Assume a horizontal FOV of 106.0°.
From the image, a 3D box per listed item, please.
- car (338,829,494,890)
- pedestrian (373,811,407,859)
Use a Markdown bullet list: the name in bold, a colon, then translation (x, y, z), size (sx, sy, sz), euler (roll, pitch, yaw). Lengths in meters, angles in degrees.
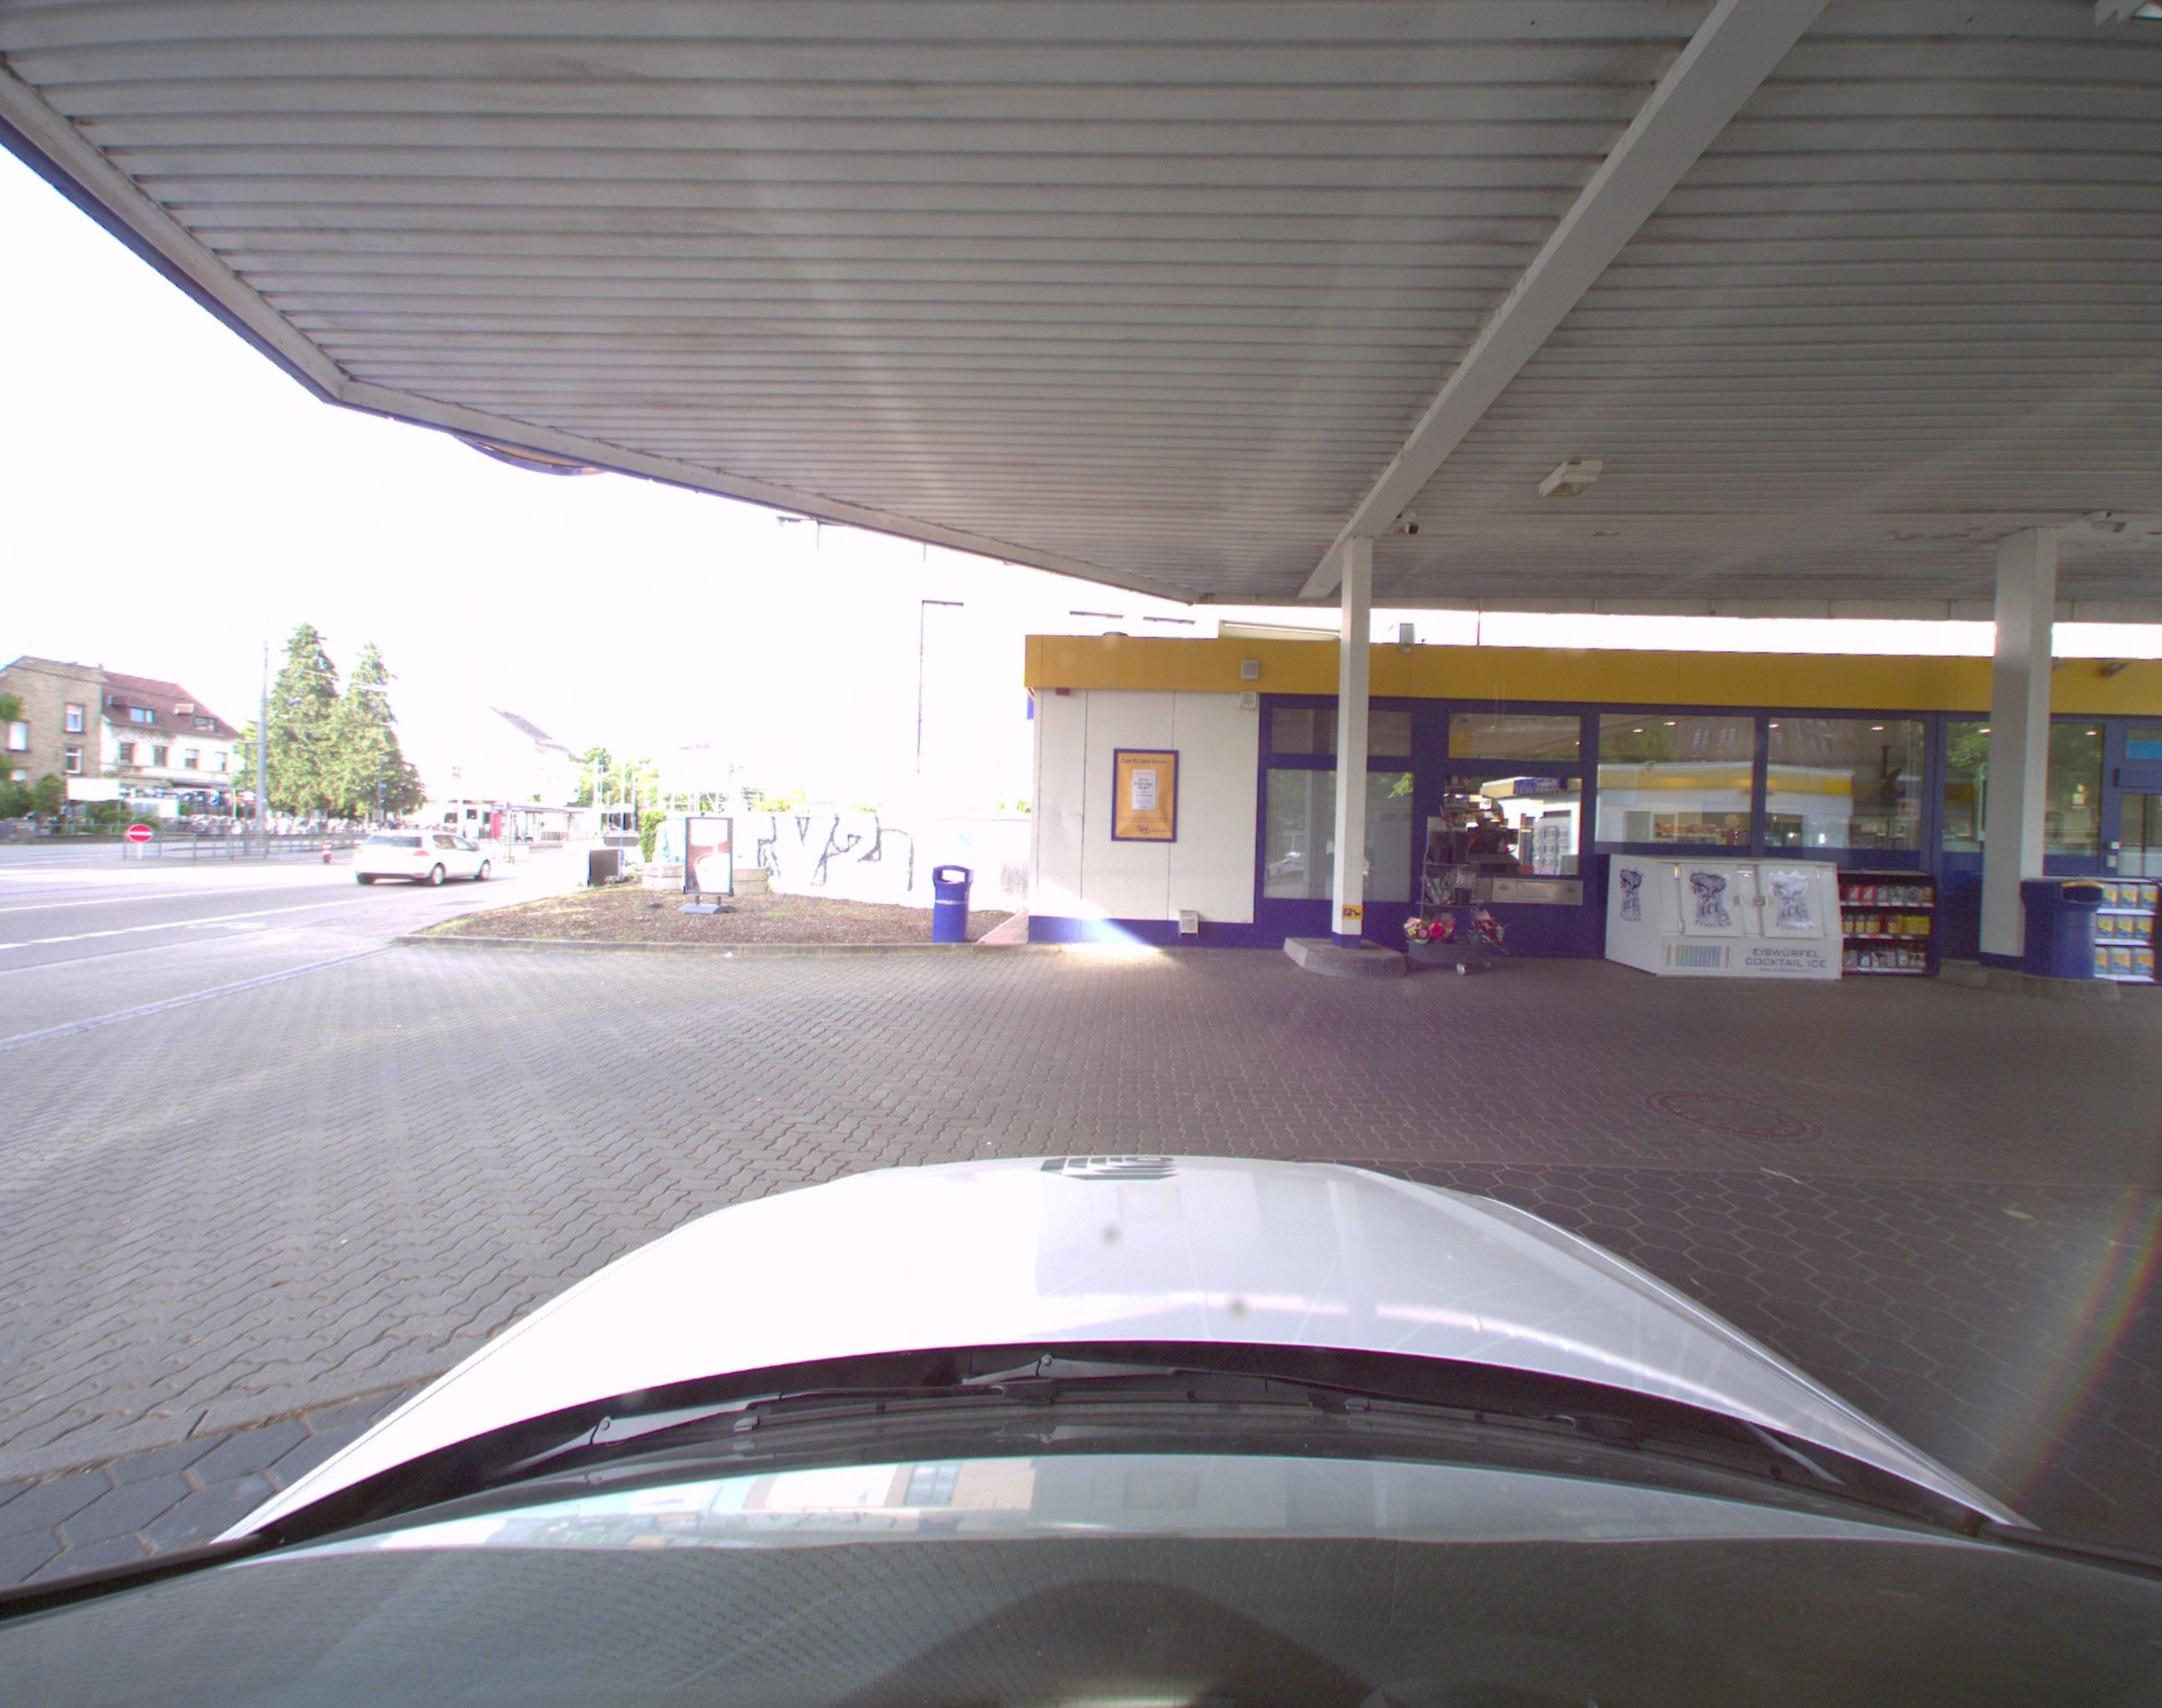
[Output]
- **car**: translation (-18.235, 0.093, 22.590), size (1.756, 1.476, 3.981), euler (3, 1, -14)
- **pedestrian**: translation (-29.740, -0.809, 35.049), size (0.798, 2.014, 0.856), euler (-1, -1, 29)
